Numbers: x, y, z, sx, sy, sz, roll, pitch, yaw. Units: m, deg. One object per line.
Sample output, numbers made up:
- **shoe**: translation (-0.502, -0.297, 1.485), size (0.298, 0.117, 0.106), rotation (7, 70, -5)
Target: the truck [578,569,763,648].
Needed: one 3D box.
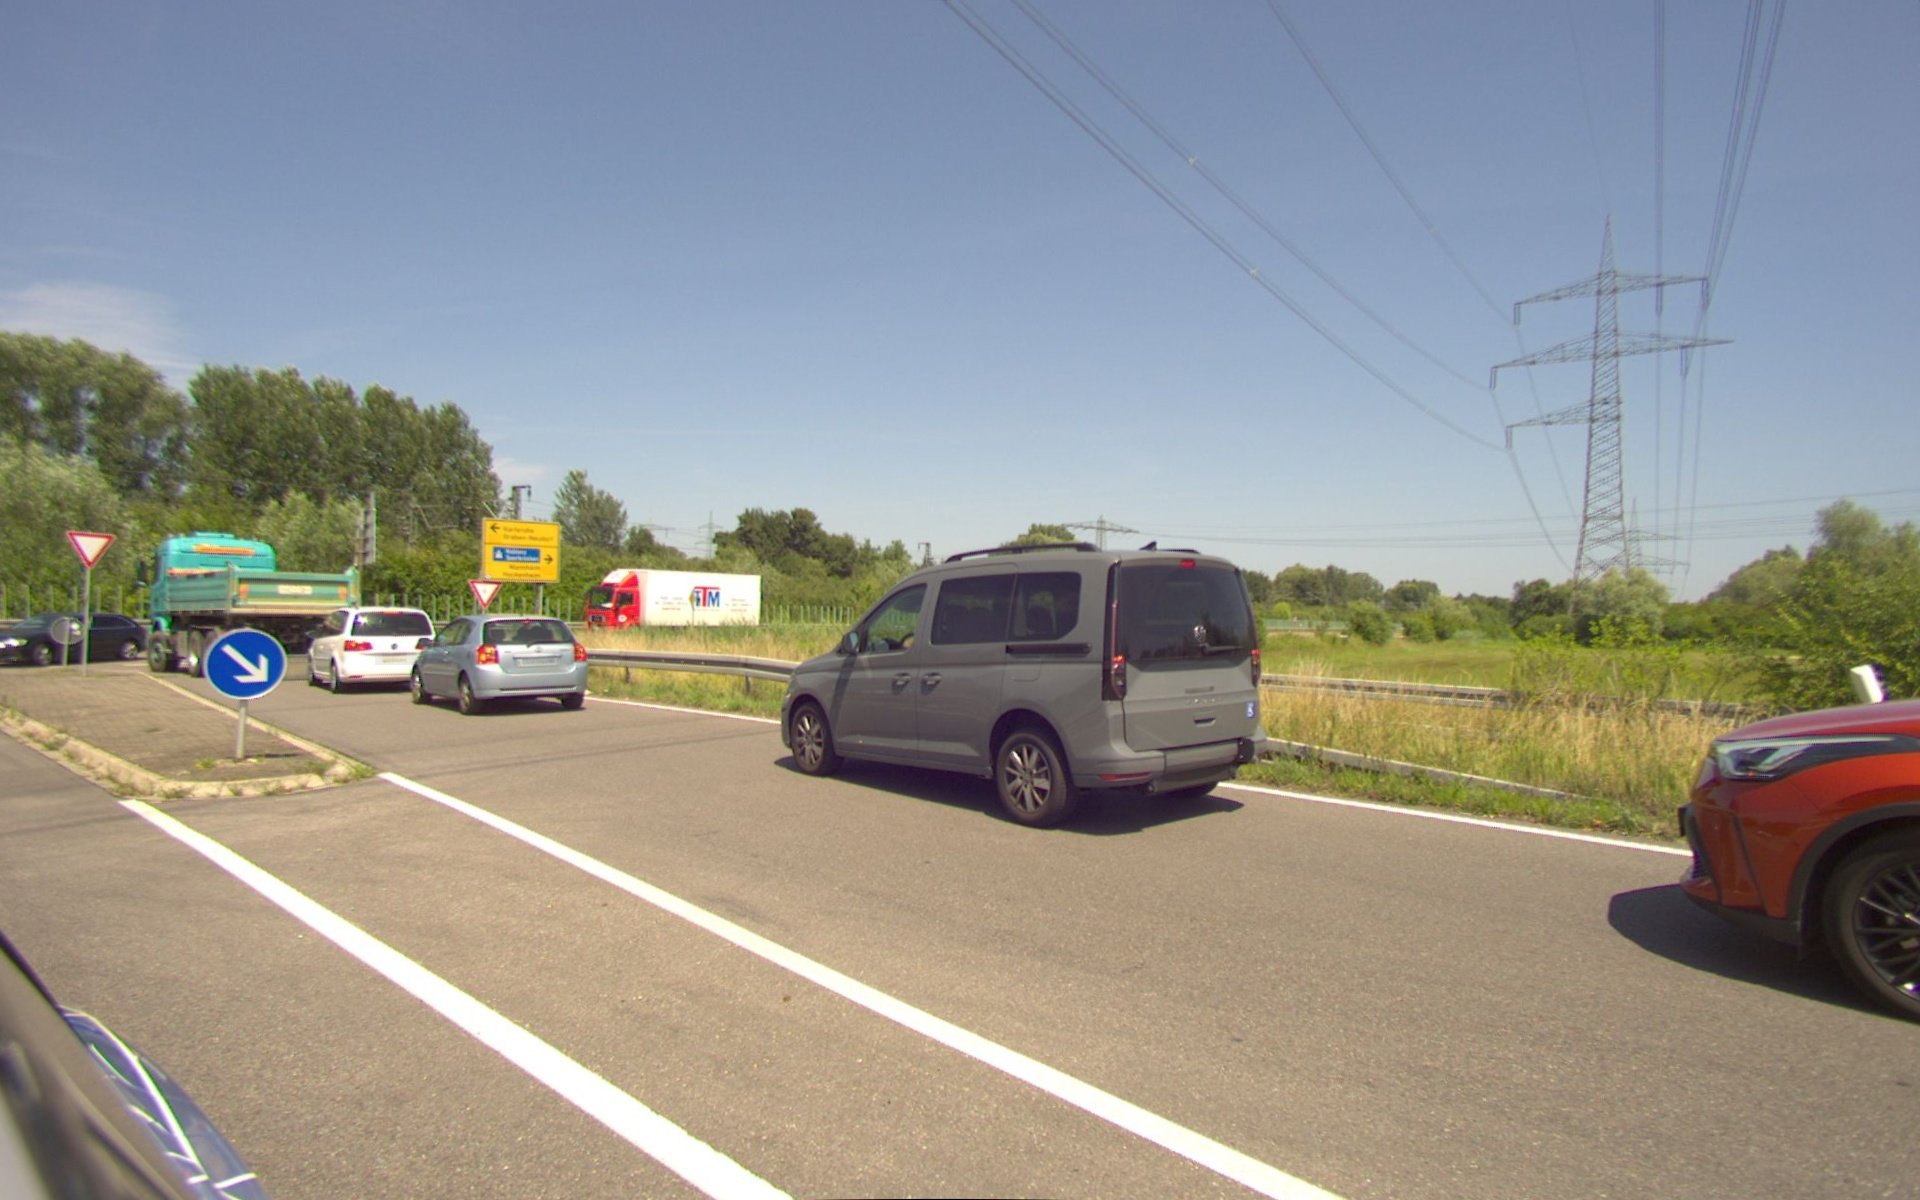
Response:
- **truck**: translation (-14.300, 0.385, 51.000), size (2.719, 3.606, 9.444), rotation (0, 0, 34)

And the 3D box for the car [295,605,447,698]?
- **car**: translation (-11.778, 0.958, 20.101), size (1.751, 1.633, 4.335), rotation (0, -1, -42)

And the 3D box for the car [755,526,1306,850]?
- **car**: translation (0.252, 0.541, 8.120), size (1.901, 1.846, 4.447), rotation (0, -1, -39)

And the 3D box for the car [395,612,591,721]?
- **car**: translation (-7.306, 0.945, 15.644), size (1.612, 1.470, 4.012), rotation (2, -2, -42)

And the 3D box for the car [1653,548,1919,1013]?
- **car**: translation (4.736, 0.564, 2.714), size (1.775, 1.527, 4.401), rotation (-1, 0, -37)

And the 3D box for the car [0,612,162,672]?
- **car**: translation (-24.639, 1.099, 27.604), size (1.817, 1.450, 4.110), rotation (3, 0, 27)

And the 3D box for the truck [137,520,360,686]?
- **truck**: translation (-17.564, 0.138, 24.750), size (7.604, 3.498, 2.575), rotation (-1, -2, 40)
